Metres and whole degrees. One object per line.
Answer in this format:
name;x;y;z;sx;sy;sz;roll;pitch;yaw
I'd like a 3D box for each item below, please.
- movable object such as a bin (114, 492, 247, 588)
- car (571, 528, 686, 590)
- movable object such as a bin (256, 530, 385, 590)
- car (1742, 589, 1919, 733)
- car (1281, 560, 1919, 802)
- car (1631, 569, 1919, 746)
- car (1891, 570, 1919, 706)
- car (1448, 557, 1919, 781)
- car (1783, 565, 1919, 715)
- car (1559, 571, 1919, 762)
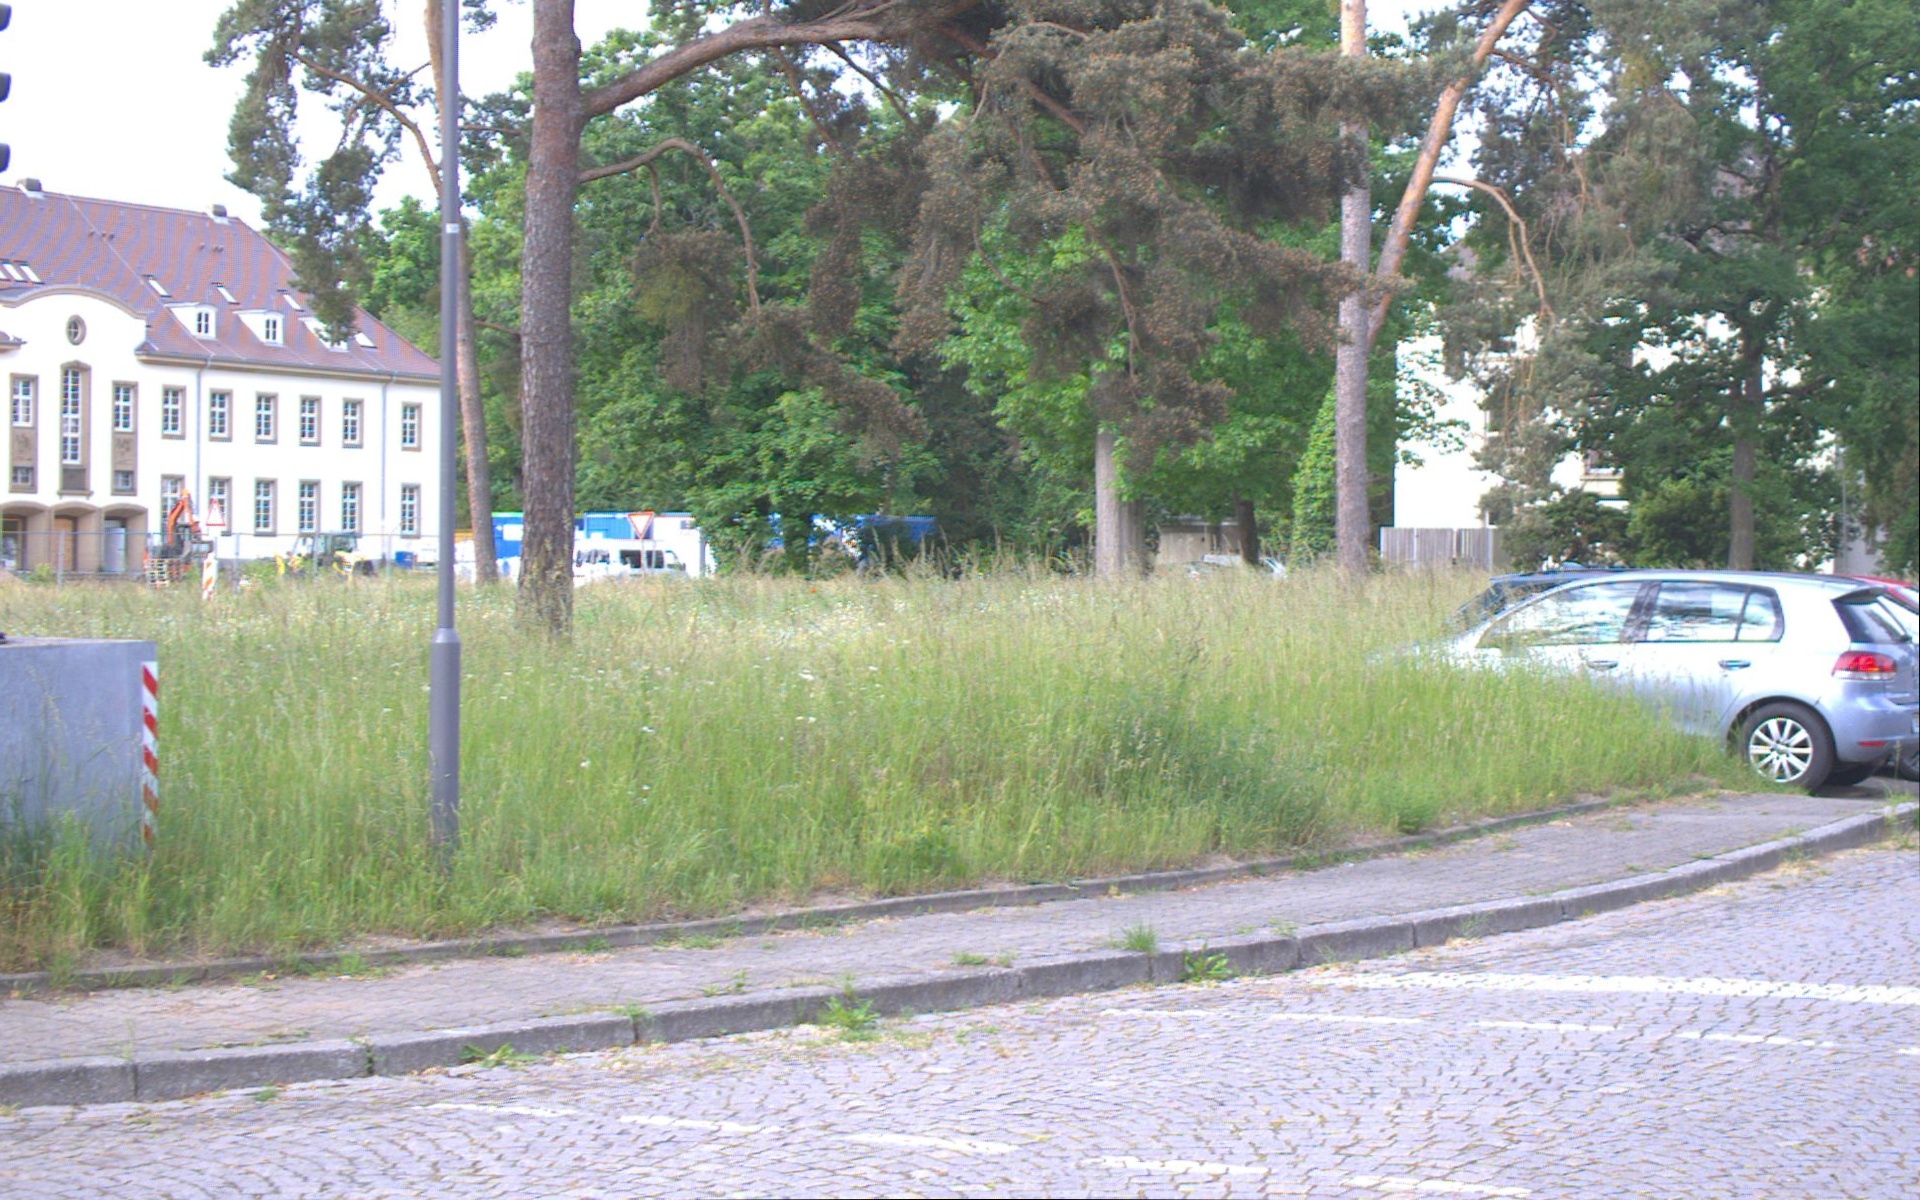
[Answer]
movable object such as a bin;-30.695;-2.347;135.222;2.135;3.629;6.132;2;-1;-44
car;-12.014;-1.465;124.891;2.065;2.088;4.338;0;-1;29
movable object such as a bin;-24.877;-1.544;133.659;4.516;2.246;2.375;1;-1;34
car;9.684;0.596;32.476;4.138;1.279;1.761;2;1;29
car;4.601;0.508;23.873;4.337;1.465;1.824;2;1;30
car;8.320;0.503;30.512;4.261;1.450;1.852;2;1;29
car;12.495;0.455;37.268;4.312;1.475;1.728;2;1;31
car;6.164;0.500;26.004;4.508;1.532;1.868;2;1;26
car;10.666;0.427;34.993;4.095;1.475;1.752;2;1;30
car;7.419;0.541;28.375;4.444;1.450;1.946;2;1;30
